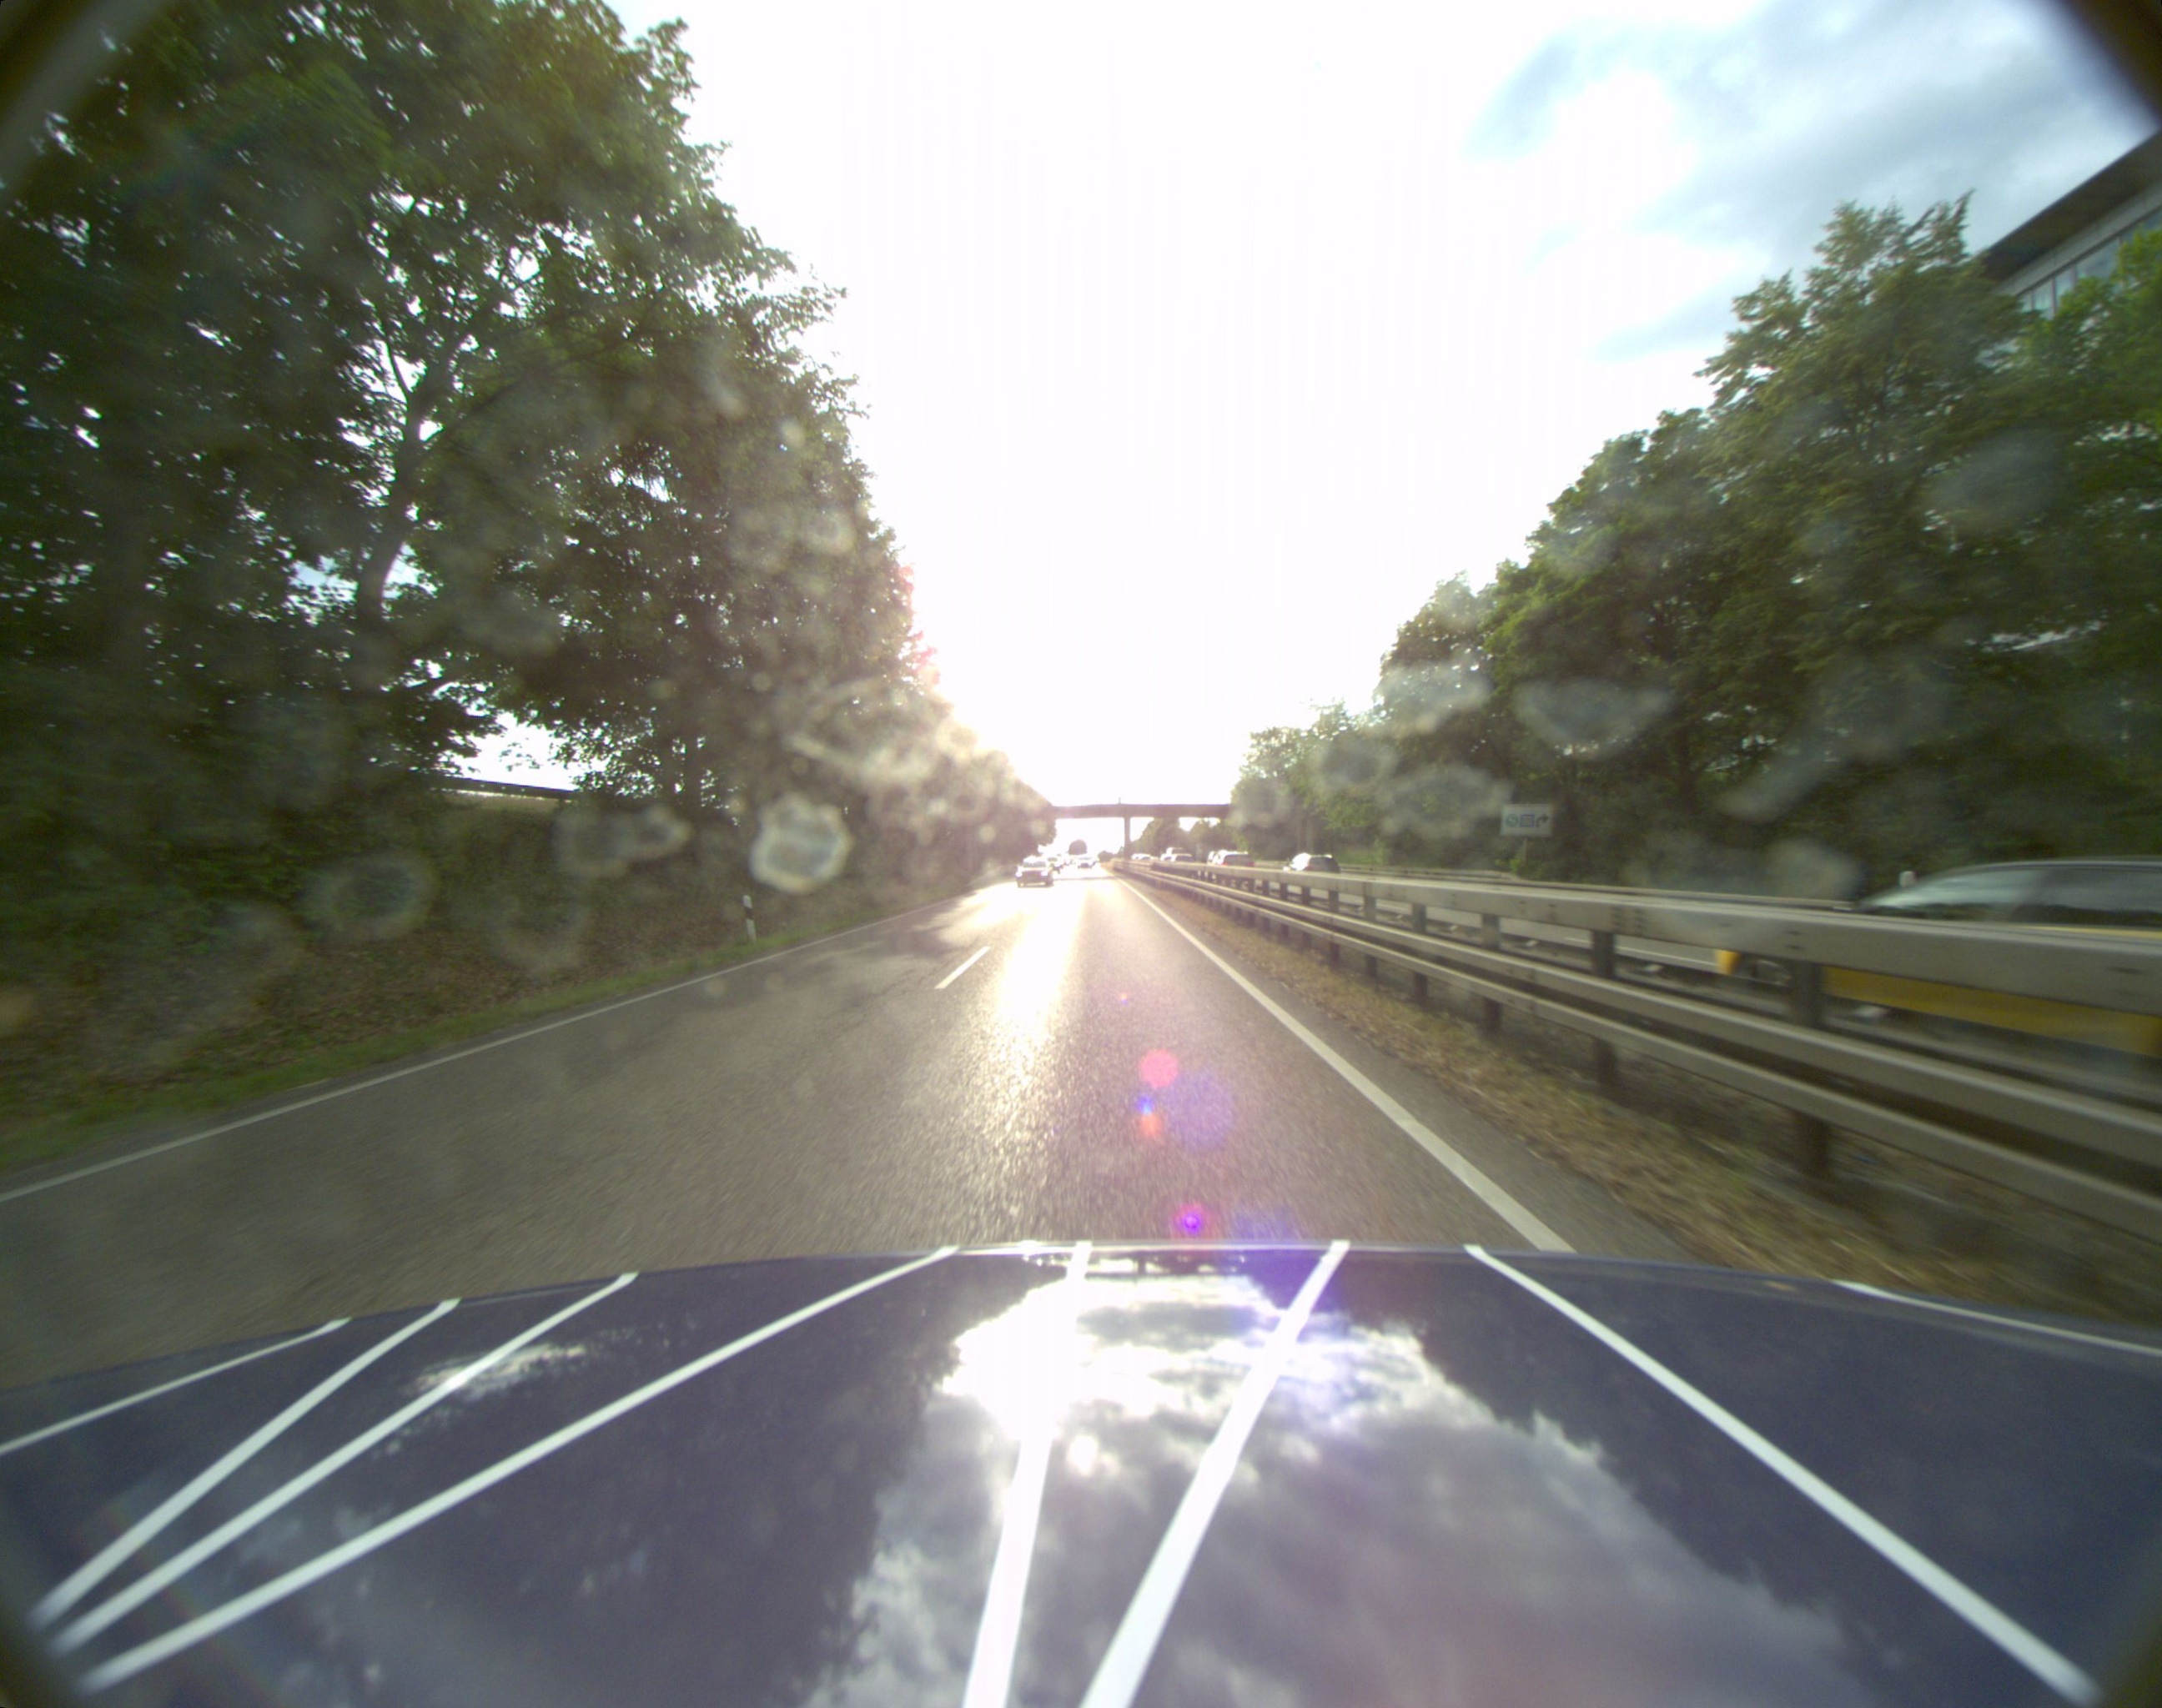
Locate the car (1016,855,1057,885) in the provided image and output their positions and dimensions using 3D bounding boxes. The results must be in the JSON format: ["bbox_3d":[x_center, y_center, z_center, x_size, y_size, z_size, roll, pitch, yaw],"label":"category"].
[{"bbox_3d":[-2.316,0.829,40.702,1.723,1.467,3.729,-2,0,3],"label":"car"}]

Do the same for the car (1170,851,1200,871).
[{"bbox_3d":[7.463,0.484,54.818,1.680,1.344,3.831,-1,0,1],"label":"car"}]

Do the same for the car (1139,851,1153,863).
[{"bbox_3d":[8.791,0.371,103.423,1.610,1.519,3.640,-1,0,0],"label":"car"}]

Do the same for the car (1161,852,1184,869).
[{"bbox_3d":[8.226,0.597,68.669,1.686,1.477,3.646,-1,0,1],"label":"car"}]

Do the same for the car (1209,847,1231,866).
[{"bbox_3d":[14.406,0.257,78.931,1.871,1.844,4.624,-1,0,6],"label":"car"}]

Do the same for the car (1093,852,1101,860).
[{"bbox_3d":[4.076,0.518,195.614,1.998,2.002,4.000,-3,0,1],"label":"car"}]

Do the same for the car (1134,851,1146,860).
[{"bbox_3d":[10.340,0.199,133.075,1.827,1.575,4.790,-1,0,1],"label":"car"}]

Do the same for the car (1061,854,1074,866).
[{"bbox_3d":[-2.089,0.942,116.965,1.723,1.657,4.420,-2,0,2],"label":"car"}]

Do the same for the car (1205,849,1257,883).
[{"bbox_3d":[7.351,0.556,37.573,1.825,1.575,4.316,-1,0,1],"label":"car"}]

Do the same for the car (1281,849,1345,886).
[{"bbox_3d":[10.966,0.605,36.203,1.747,1.580,4.311,-2,1,1],"label":"car"}]

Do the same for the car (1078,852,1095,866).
[{"bbox_3d":[0.690,0.611,86.323,1.723,1.493,4.420,-2,-1,2],"label":"car"}]

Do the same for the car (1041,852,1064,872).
[{"bbox_3d":[-2.559,0.715,68.592,1.723,1.657,4.420,-2,0,2],"label":"car"}]

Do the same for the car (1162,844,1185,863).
[{"bbox_3d":[12.503,-0.079,103.021,2.255,2.522,6.940,-1,0,1],"label":"car"}]

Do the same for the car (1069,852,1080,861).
[{"bbox_3d":[-1.209,0.506,142.230,1.948,1.652,4.001,-2,0,2],"label":"car"}]

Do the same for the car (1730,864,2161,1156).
[{"bbox_3d":[6.408,0.833,4.597,1.595,1.439,4.000,0,1,1],"label":"car"}]

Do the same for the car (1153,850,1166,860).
[{"bbox_3d":[14.369,0.189,139.160,1.839,1.527,4.397,5,1,2],"label":"car"}]
